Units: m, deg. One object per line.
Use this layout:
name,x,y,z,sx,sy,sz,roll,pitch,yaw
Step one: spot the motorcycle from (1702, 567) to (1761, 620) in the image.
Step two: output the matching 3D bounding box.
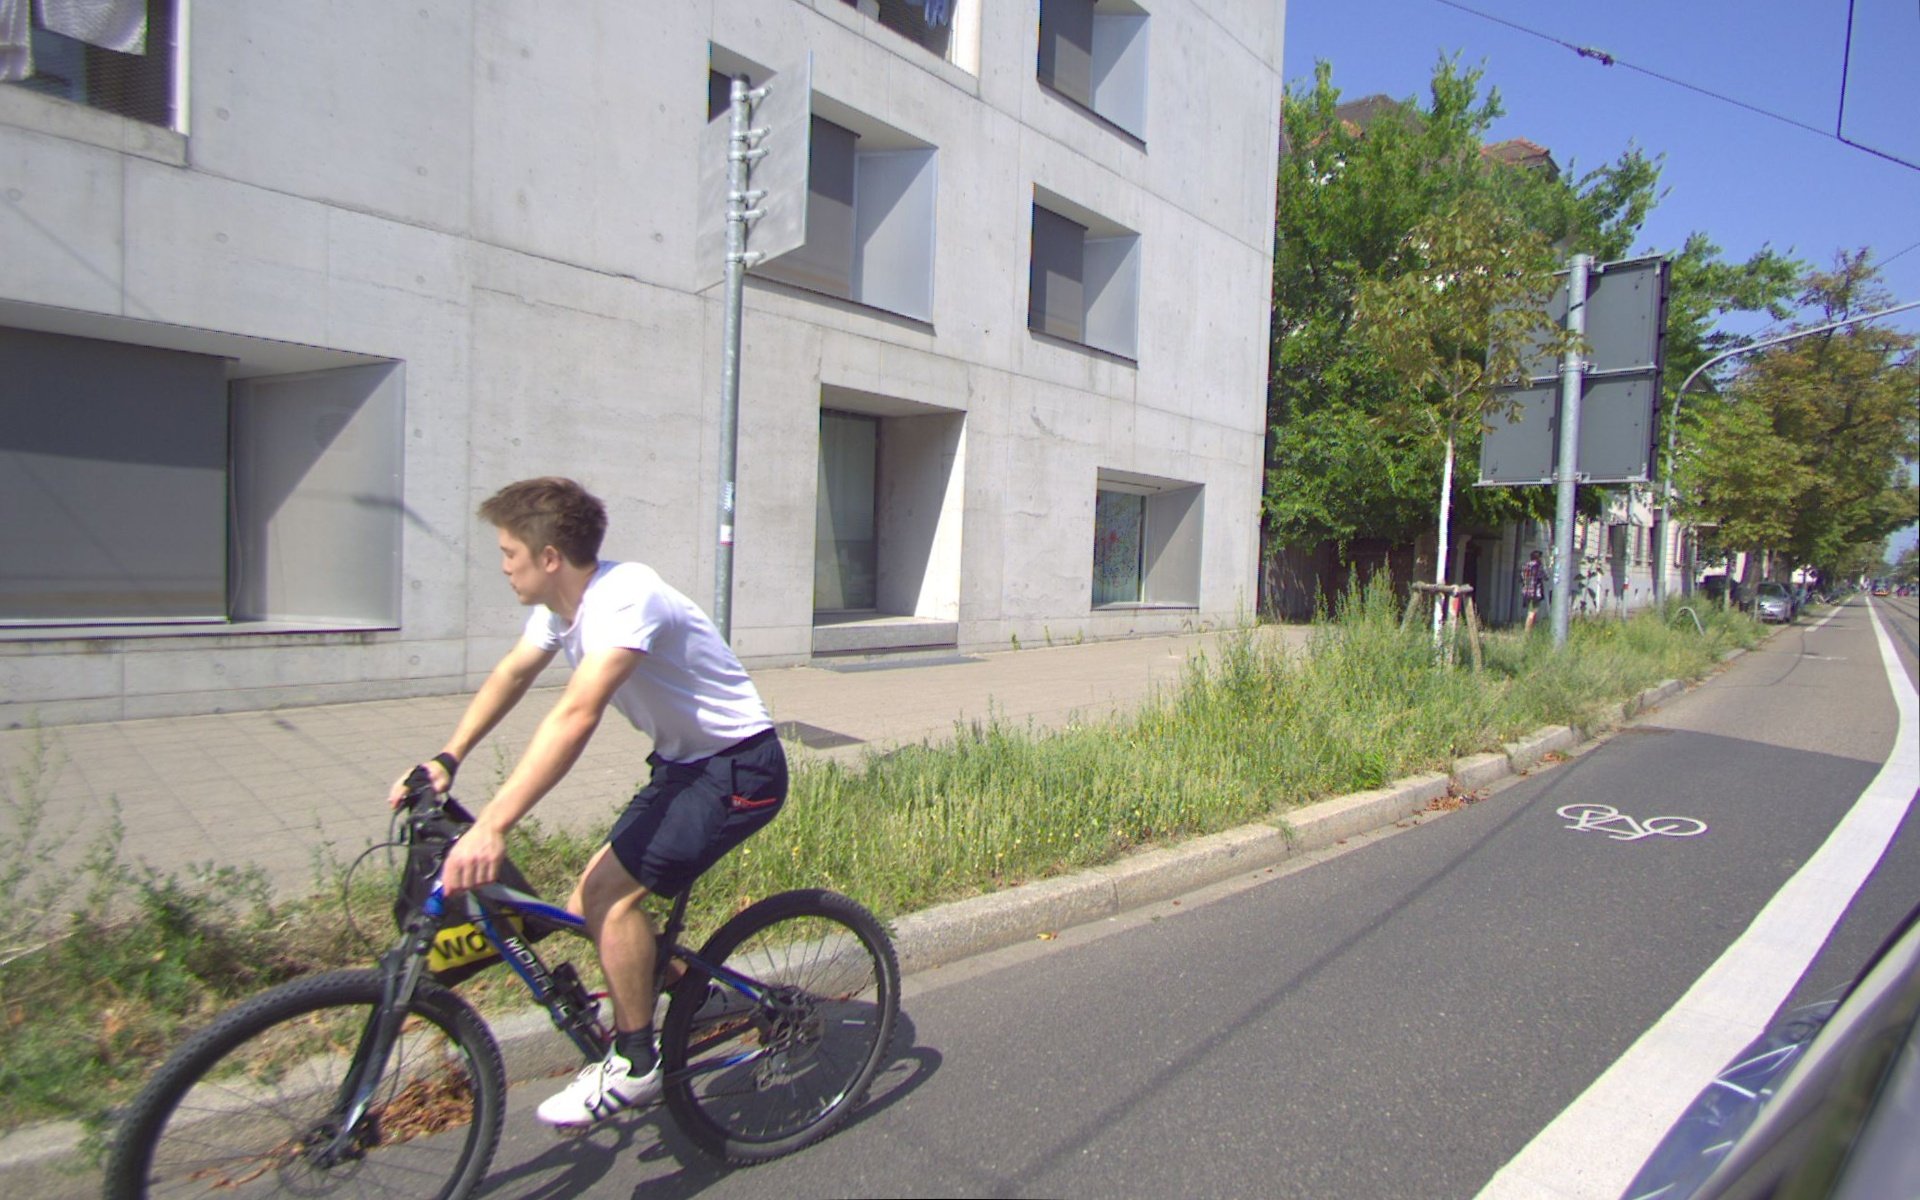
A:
motorcycle,24.289,-0.210,31.848,2.369,1.571,0.888,0,4,-40

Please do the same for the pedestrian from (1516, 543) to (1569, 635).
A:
pedestrian,11.450,-0.222,19.891,0.692,1.753,0.570,4,3,45

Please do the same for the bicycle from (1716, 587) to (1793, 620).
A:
bicycle,26.893,0.104,34.267,0.709,0.964,1.925,0,4,-44

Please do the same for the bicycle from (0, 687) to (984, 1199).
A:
bicycle,-0.963,0.832,2.118,0.739,1.061,2.199,4,3,42

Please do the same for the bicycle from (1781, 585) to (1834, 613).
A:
bicycle,37.941,-0.069,45.301,1.755,1.136,0.646,4,3,43

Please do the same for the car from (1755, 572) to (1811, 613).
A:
car,34.415,-0.334,42.377,1.661,1.525,4.373,5,4,38

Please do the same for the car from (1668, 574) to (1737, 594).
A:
car,60.098,-1.307,81.934,1.934,1.460,4.009,1,3,-24

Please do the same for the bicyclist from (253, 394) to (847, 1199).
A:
bicyclist,-0.866,0.372,2.187,0.745,1.429,0.947,4,3,43

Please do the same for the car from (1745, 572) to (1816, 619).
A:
car,29.447,-0.208,36.291,1.781,1.468,4.683,5,4,40

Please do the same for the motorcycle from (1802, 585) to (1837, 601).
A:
motorcycle,67.177,-0.544,79.114,1.996,1.026,0.784,9,6,43
